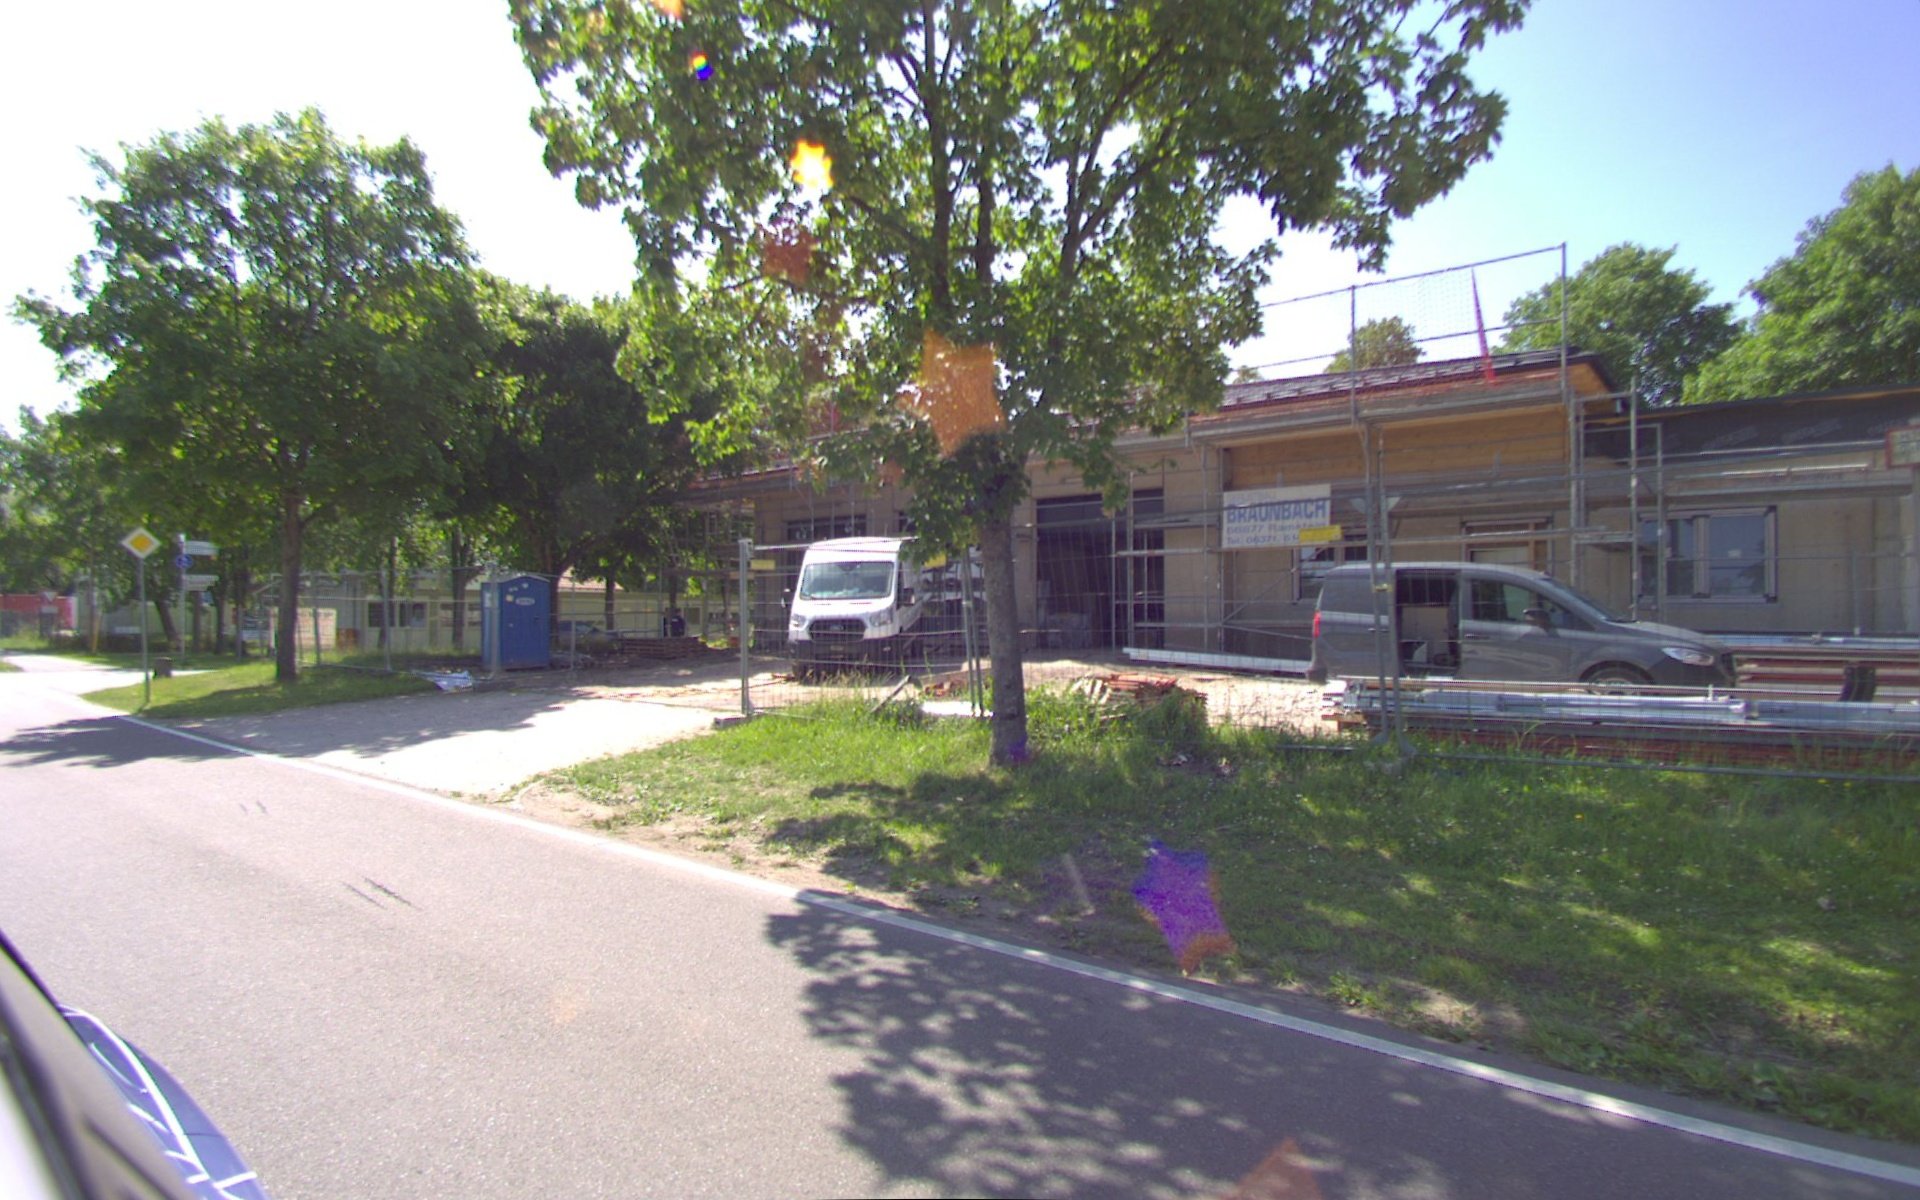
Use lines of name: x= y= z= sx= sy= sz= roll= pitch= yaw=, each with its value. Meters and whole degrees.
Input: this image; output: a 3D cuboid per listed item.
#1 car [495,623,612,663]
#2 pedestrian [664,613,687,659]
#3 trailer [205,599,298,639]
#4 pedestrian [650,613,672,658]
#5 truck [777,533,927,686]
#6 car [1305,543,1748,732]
car: x=-15.099 y=1.557 z=37.741 sx=1.754 sy=1.410 sz=3.770 roll=-1 pitch=-2 yaw=33
pedestrian: x=-11.082 y=1.393 z=39.451 sx=0.584 sy=1.764 sz=0.599 roll=-1 pitch=-2 yaw=31
trailer: x=-42.450 y=1.161 z=60.759 sx=1.819 sy=2.295 sz=4.199 roll=-1 pitch=-2 yaw=26
pedestrian: x=-11.787 y=1.405 z=39.901 sx=0.584 sy=1.764 sz=0.599 roll=-1 pitch=-2 yaw=31
truck: x=-1.874 y=0.091 z=19.584 sx=1.974 sy=2.502 sz=5.927 roll=0 pitch=1 yaw=3
car: x=6.616 y=0.397 z=12.067 sx=4.325 sy=1.852 sz=1.951 roll=-1 pitch=-1 yaw=40
